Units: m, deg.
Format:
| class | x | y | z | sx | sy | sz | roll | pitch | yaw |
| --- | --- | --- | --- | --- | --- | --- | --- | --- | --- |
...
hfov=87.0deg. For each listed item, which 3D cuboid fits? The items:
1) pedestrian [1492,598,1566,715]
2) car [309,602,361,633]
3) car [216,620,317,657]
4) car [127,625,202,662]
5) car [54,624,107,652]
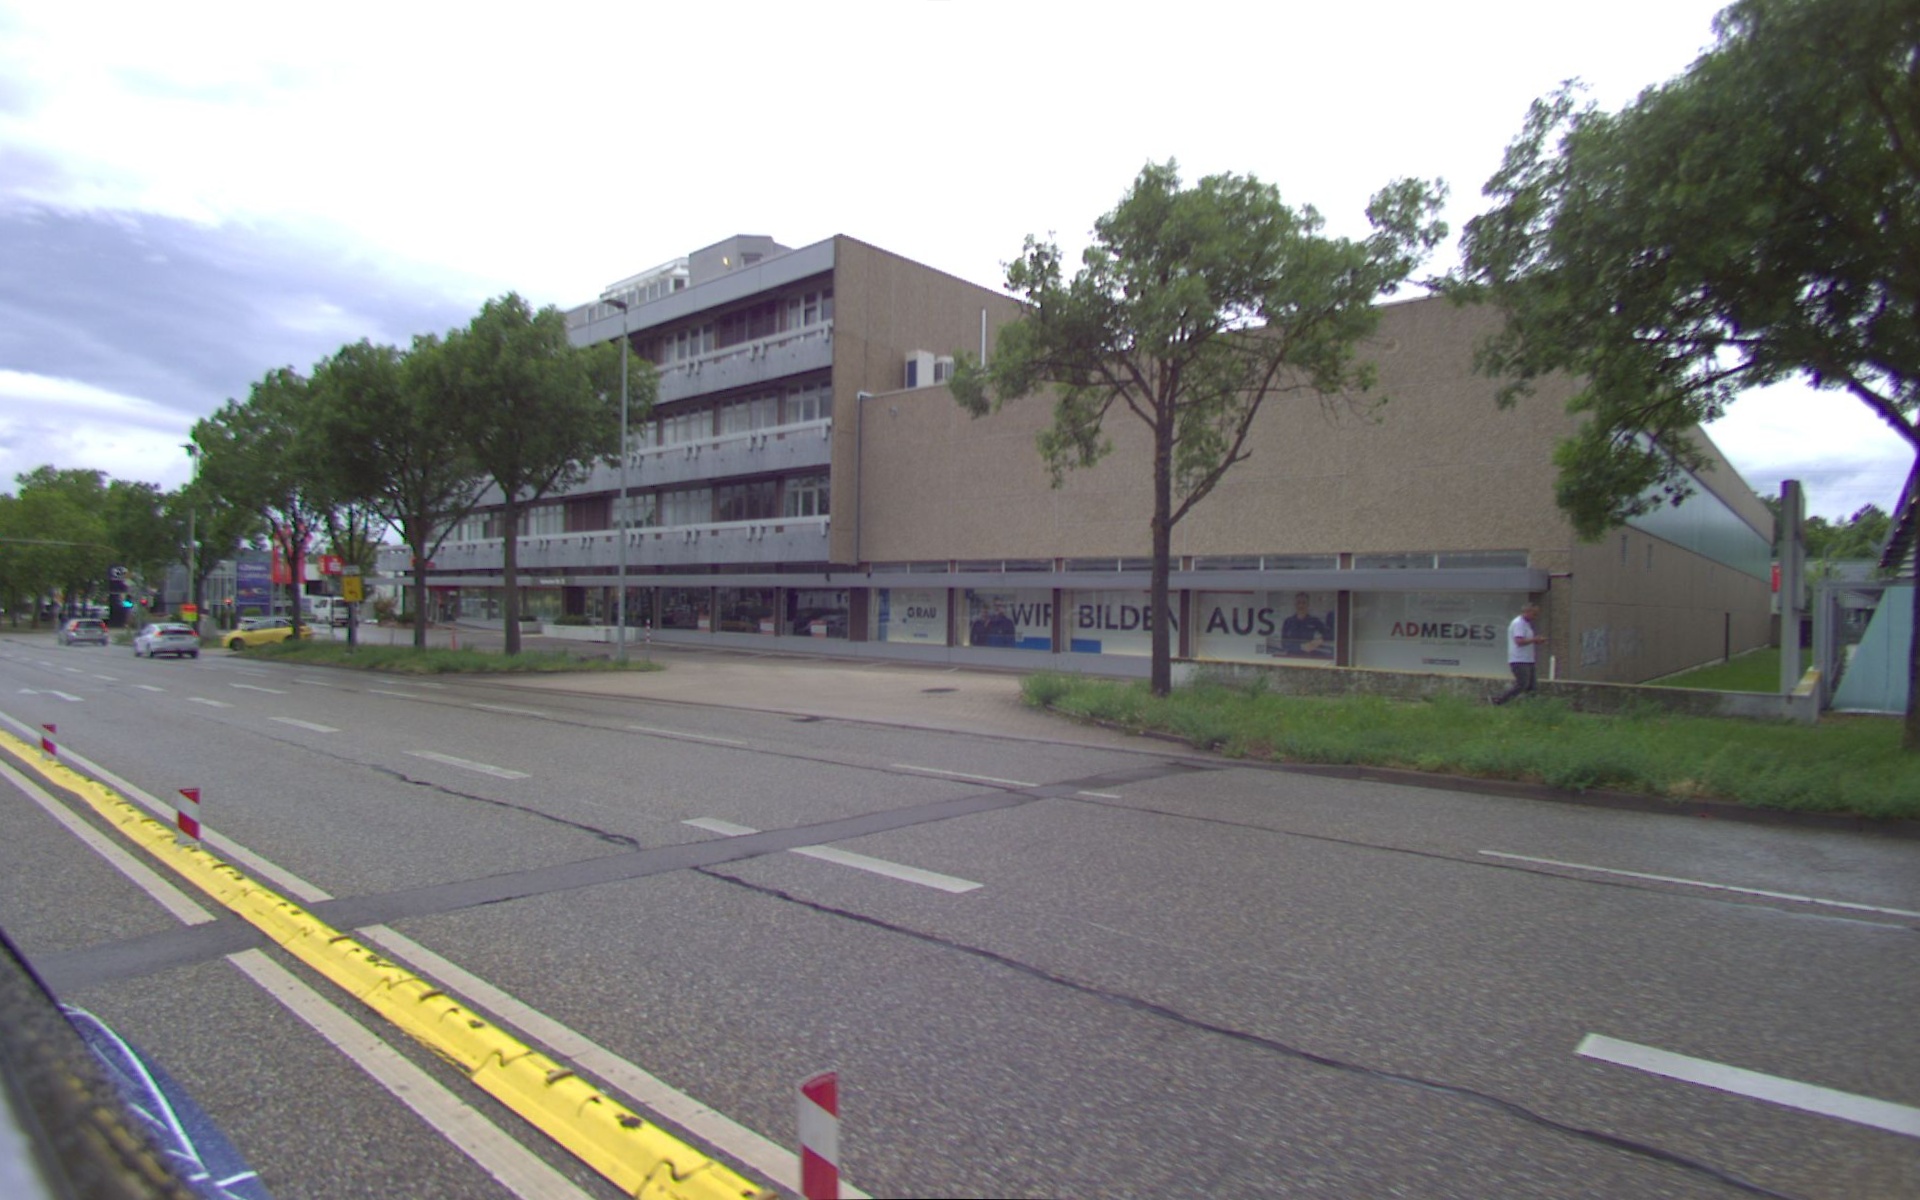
| class | x | y | z | sx | sy | sz | roll | pitch | yaw |
| --- | --- | --- | --- | --- | --- | --- | --- | --- | --- |
| pedestrian | 8.051 | 0.781 | 14.320 | 0.767 | 1.595 | 0.578 | -1 | 0 | 43 |
| car | -43.362 | 1.187 | 70.139 | 1.970 | 2.029 | 4.889 | 4 | -3 | -44 |
| car | -33.586 | 1.857 | 49.087 | 3.649 | 1.520 | 1.627 | -2 | 2 | -15 |
| car | -33.680 | 1.826 | 42.815 | 4.468 | 1.417 | 1.722 | -1 | -3 | 42 |
| car | -50.876 | 2.171 | 58.492 | 4.780 | 1.564 | 1.722 | -1 | -2 | 42 |
